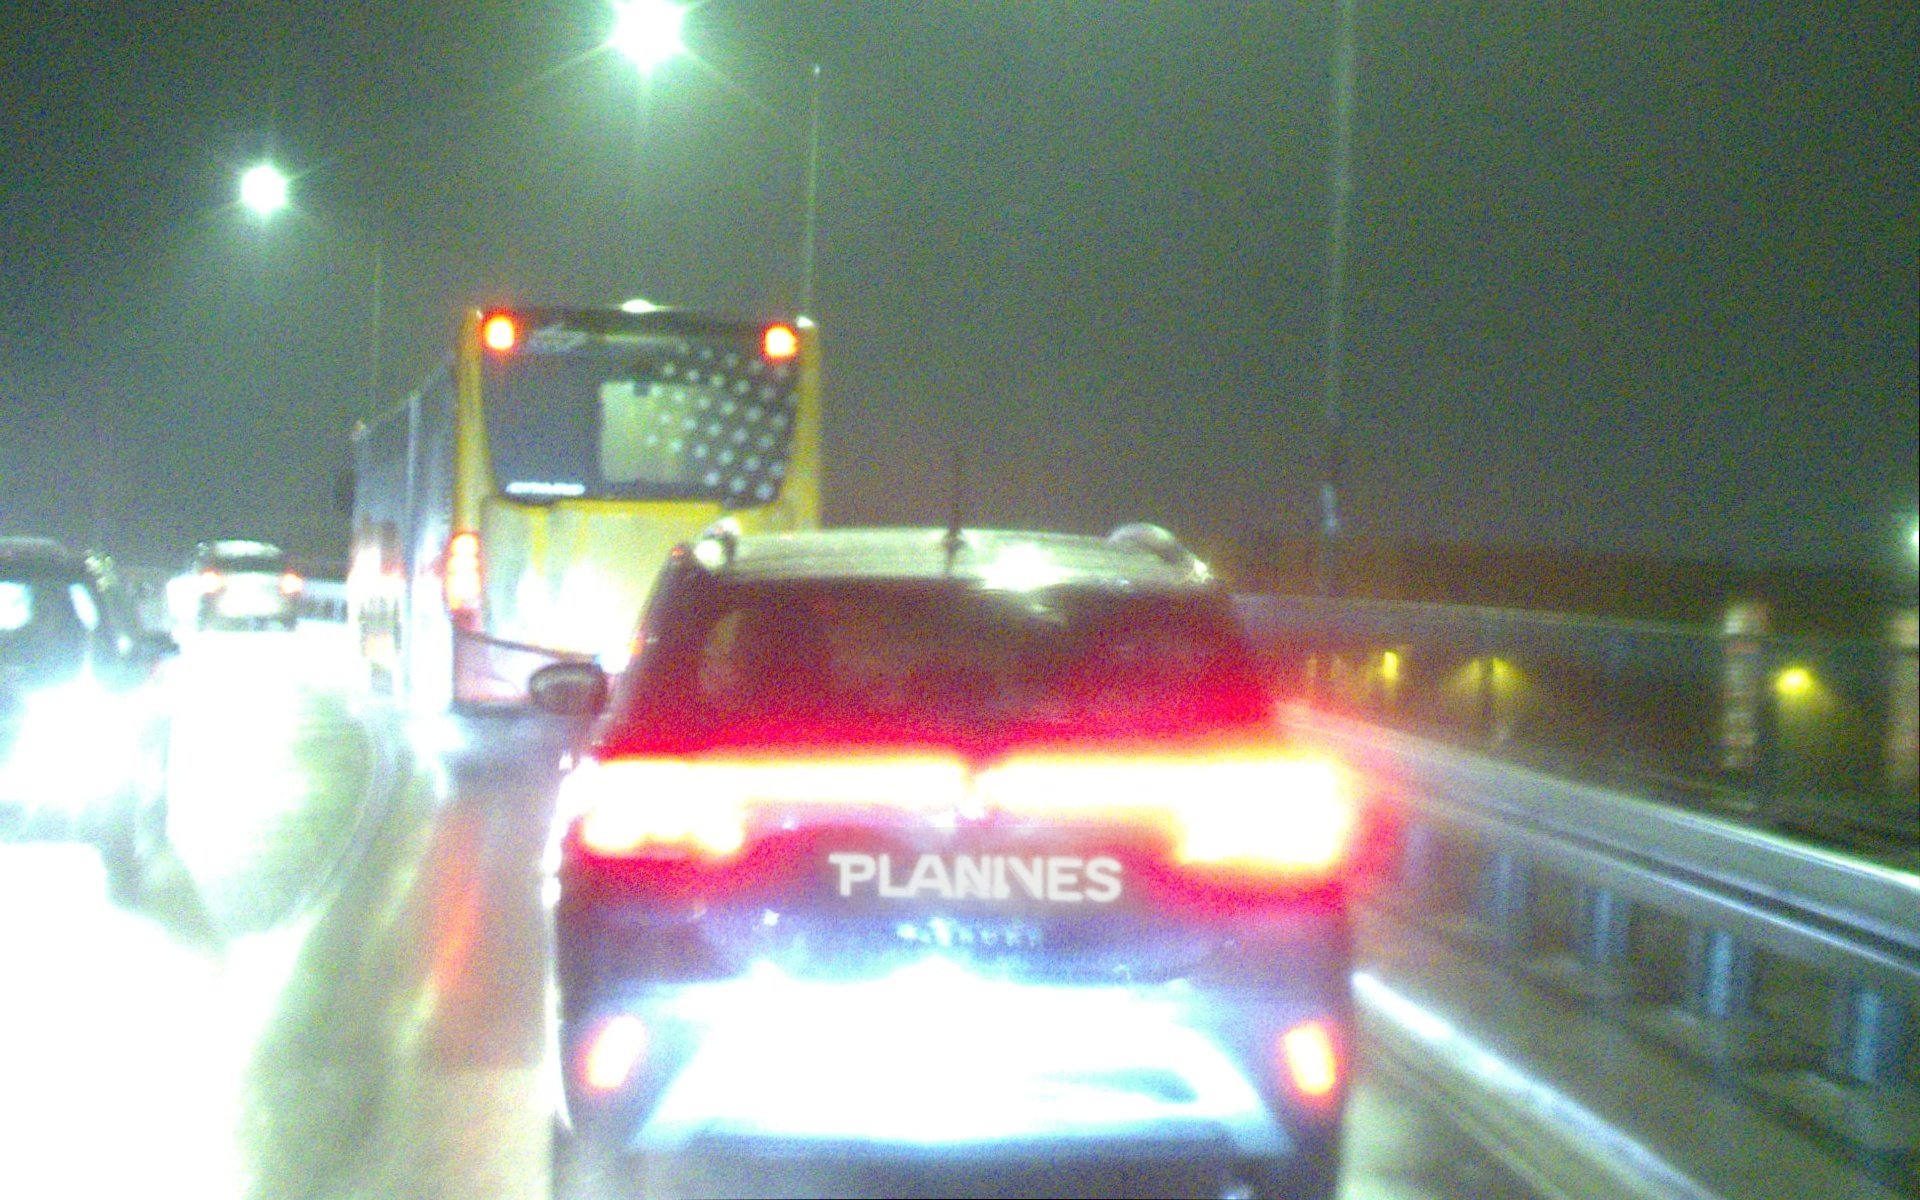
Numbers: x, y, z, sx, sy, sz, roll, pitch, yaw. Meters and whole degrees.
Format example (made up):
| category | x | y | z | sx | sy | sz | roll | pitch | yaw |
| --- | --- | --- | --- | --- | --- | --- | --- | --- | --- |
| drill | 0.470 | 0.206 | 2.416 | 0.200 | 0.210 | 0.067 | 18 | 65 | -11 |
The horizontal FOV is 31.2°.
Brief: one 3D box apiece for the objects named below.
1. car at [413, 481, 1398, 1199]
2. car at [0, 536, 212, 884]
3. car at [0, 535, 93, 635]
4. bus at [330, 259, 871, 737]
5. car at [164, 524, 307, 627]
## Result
| category | x | y | z | sx | sy | sz | roll | pitch | yaw |
| --- | --- | --- | --- | --- | --- | --- | --- | --- | --- |
| car | -0.306 | 0.564 | 8.569 | 1.855 | 1.581 | 4.001 | 2 | 1 | -6 |
| car | -4.644 | 0.421 | 16.210 | 1.895 | 1.434 | 4.064 | 0 | 1 | -8 |
| car | -14.078 | -0.250 | 51.815 | 1.814 | 1.399 | 4.049 | -1 | 2 | -12 |
| bus | -3.497 | -0.843 | 29.005 | 3.082 | 3.122 | 12.701 | 0 | 2 | -13 |
| car | -12.399 | -0.406 | 58.721 | 1.636 | 1.650 | 3.710 | -3 | 1 | -23 |
